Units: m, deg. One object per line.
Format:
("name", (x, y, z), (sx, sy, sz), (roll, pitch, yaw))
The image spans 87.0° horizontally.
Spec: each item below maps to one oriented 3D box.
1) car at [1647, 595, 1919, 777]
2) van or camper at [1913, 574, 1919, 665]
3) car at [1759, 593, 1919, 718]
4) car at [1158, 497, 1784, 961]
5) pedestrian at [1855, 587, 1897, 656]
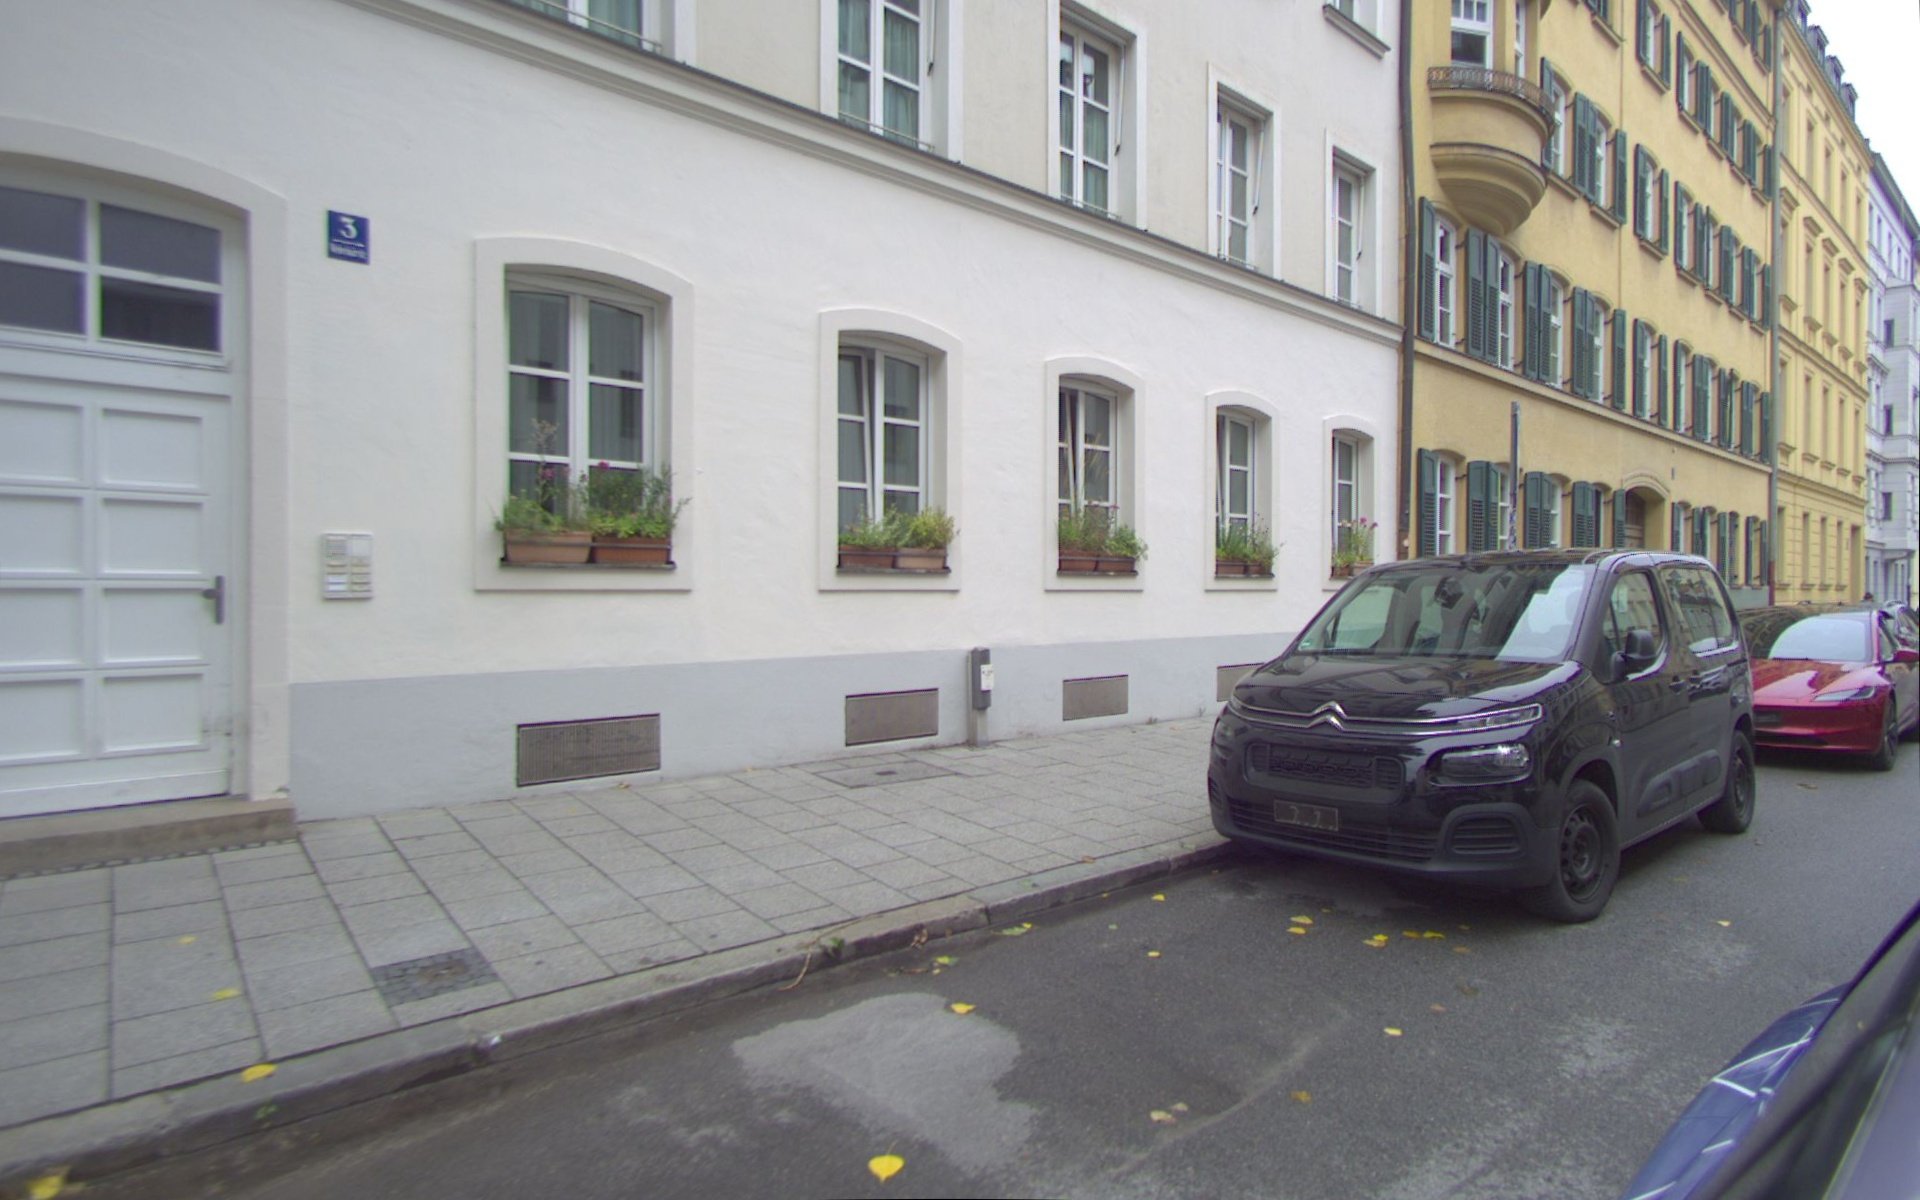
("car", (8.657, 0.688, 10.318), (4.381, 1.441, 1.716), (0, 1, -42))
("van or camper", (23.927, 0.462, 23.593), (5.142, 2.039, 1.997), (0, 1, -41))
("car", (12.629, 0.673, 13.987), (3.929, 1.482, 1.749), (0, 1, -40))
("car", (3.219, 0.494, 5.992), (4.127, 1.799, 1.849), (-1, -1, -41))
("pedestrian", (22.984, 0.536, 25.391), (0.881, 1.658, 0.598), (1, 3, -42))
